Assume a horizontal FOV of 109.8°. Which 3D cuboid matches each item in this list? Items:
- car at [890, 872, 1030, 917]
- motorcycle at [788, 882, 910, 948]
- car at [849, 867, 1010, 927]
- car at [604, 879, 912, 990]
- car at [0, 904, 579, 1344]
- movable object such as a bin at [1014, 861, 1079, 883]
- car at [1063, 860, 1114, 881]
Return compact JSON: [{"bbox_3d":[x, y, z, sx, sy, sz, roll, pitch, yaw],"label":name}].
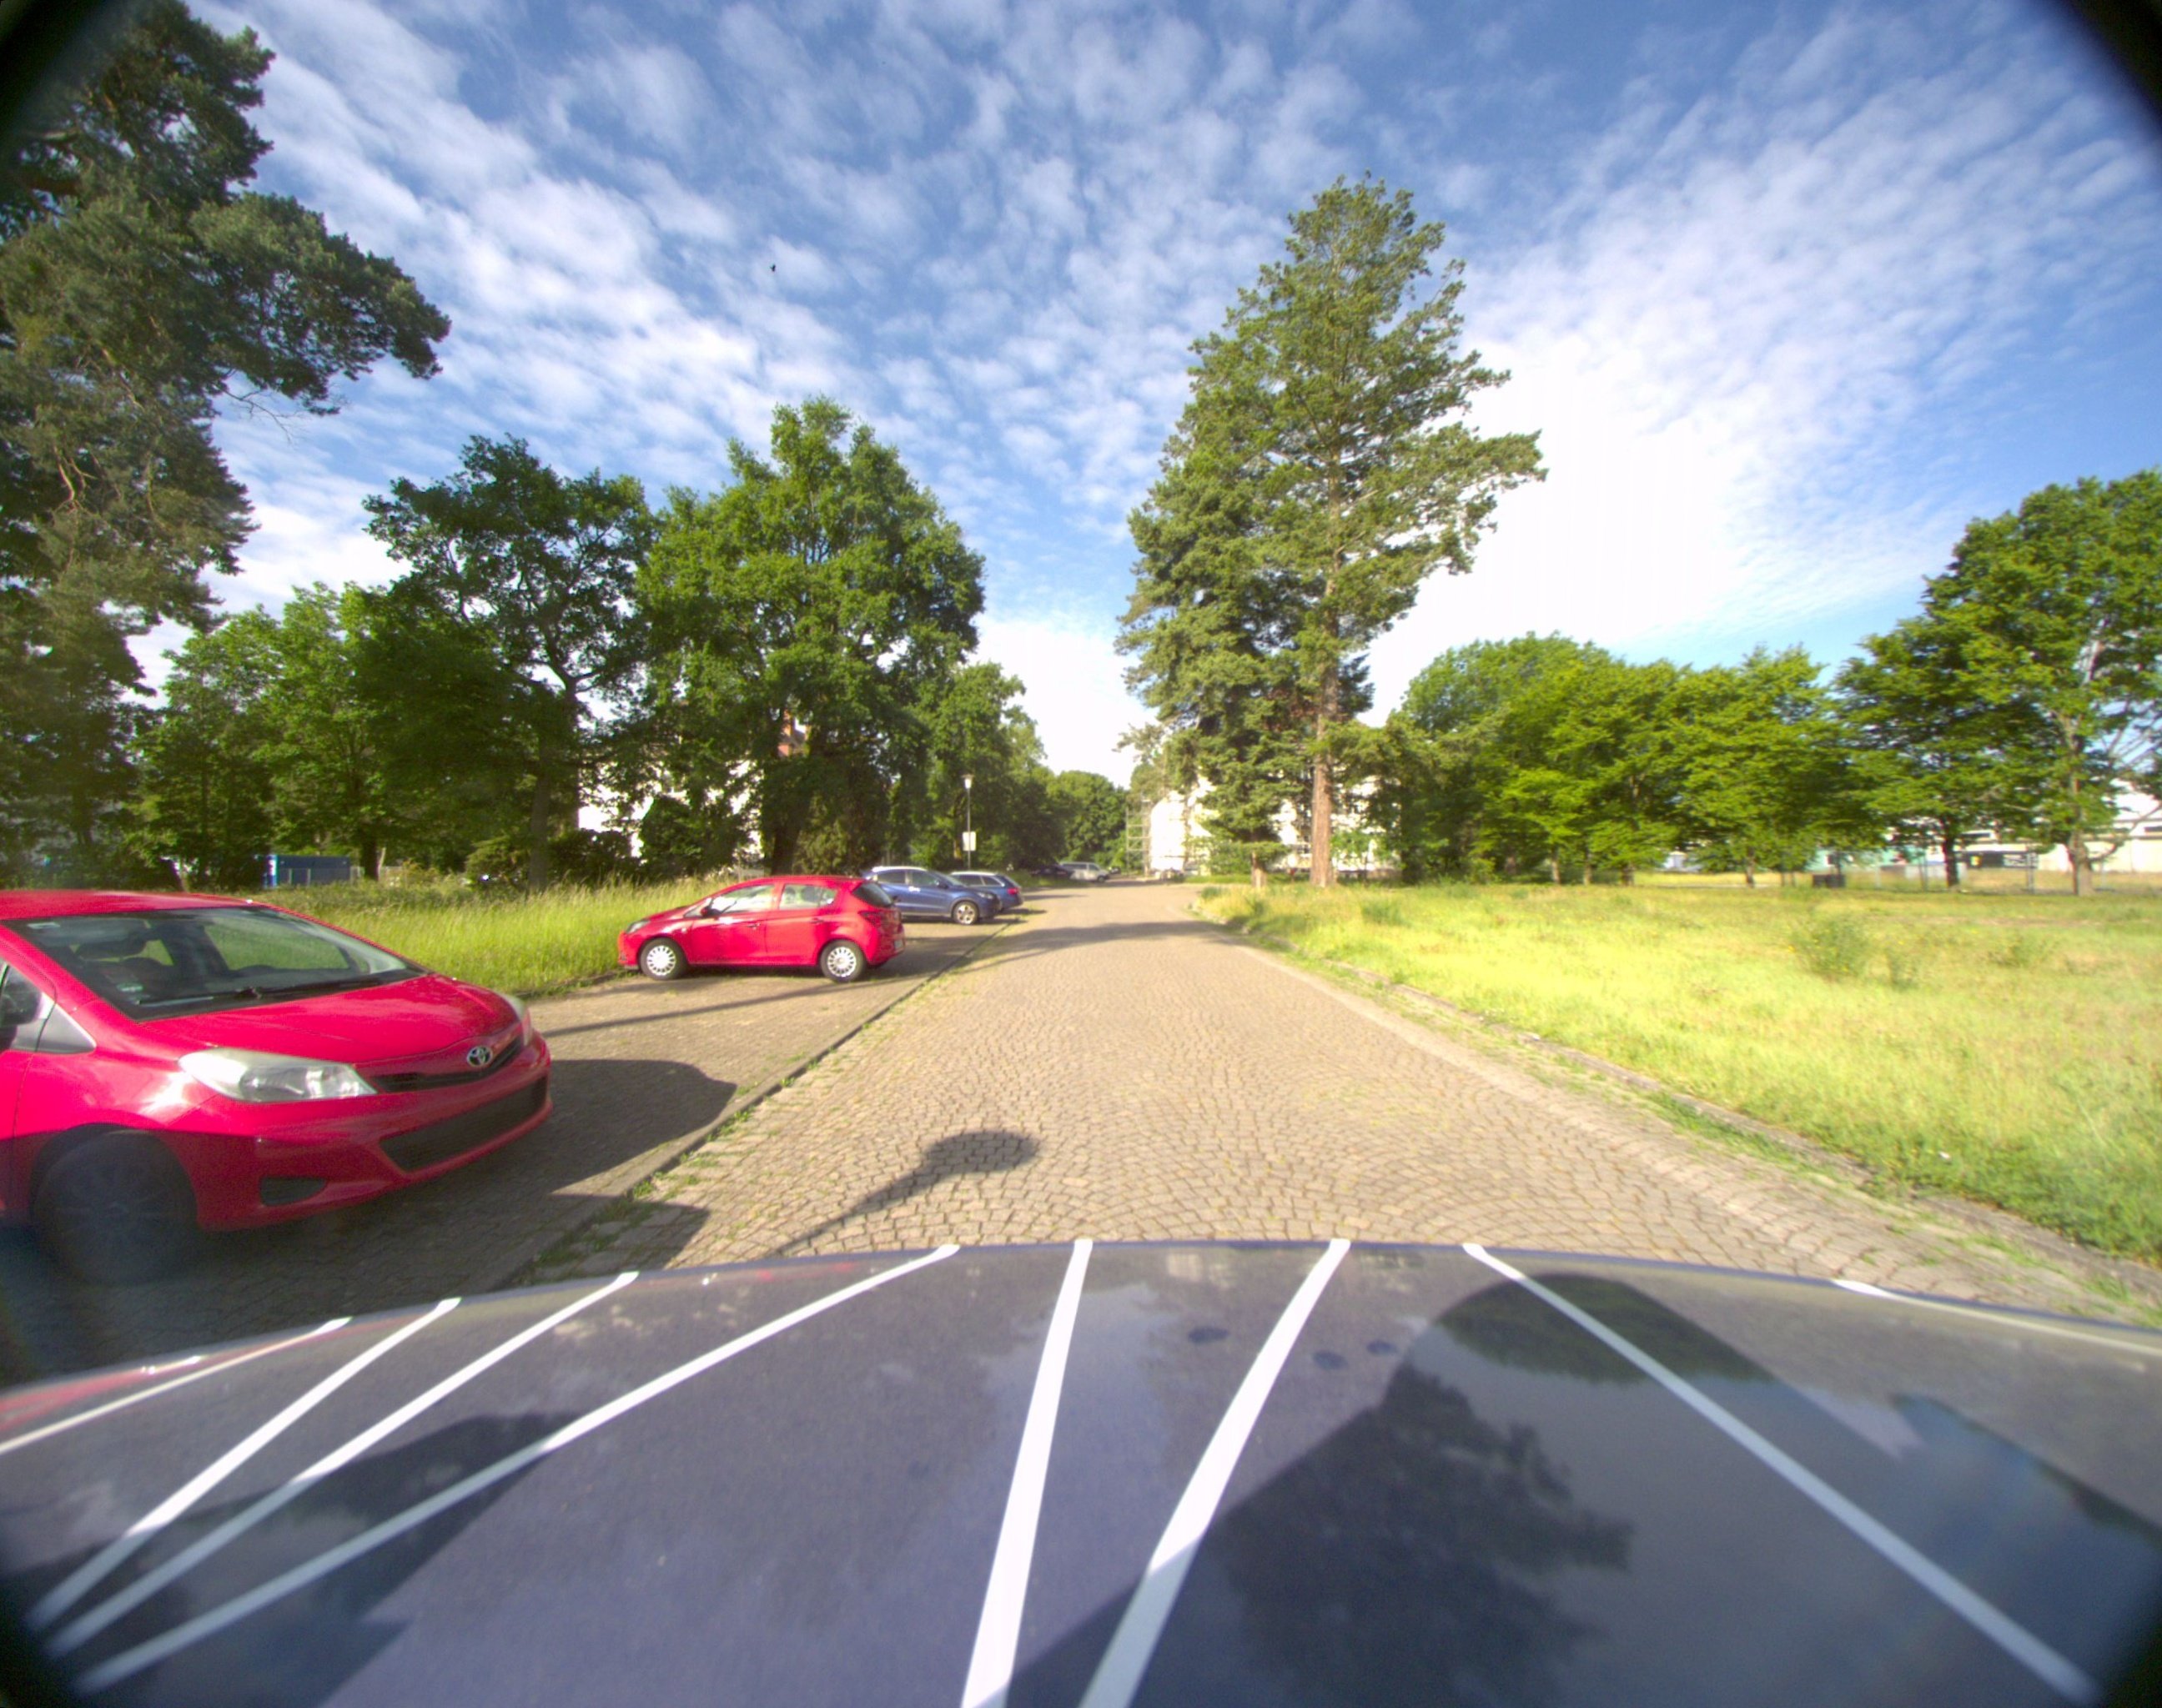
[{"bbox_3d":[-4.101,1.354,26.217,4.459,1.399,1.714,1,0,3],"label":"car"},{"bbox_3d":[-4.786,1.251,15.763,2.305,1.312,0.726,0,0,0],"label":"motorcycle"},{"bbox_3d":[-4.205,1.174,21.511,4.187,1.581,1.752,-1,0,0],"label":"car"},{"bbox_3d":[-4.593,1.135,11.210,3.837,1.470,1.645,0,0,-1],"label":"car"},{"bbox_3d":[-4.830,1.058,3.631,3.772,1.521,1.646,-1,0,1],"label":"car"},{"bbox_3d":[-2.786,1.448,62.056,4.931,1.749,2.003,-1,0,15],"label":"movable object such as a bin"},{"bbox_3d":[0.730,1.592,74.855,4.936,2.002,2.000,-1,0,1],"label":"car"}]
